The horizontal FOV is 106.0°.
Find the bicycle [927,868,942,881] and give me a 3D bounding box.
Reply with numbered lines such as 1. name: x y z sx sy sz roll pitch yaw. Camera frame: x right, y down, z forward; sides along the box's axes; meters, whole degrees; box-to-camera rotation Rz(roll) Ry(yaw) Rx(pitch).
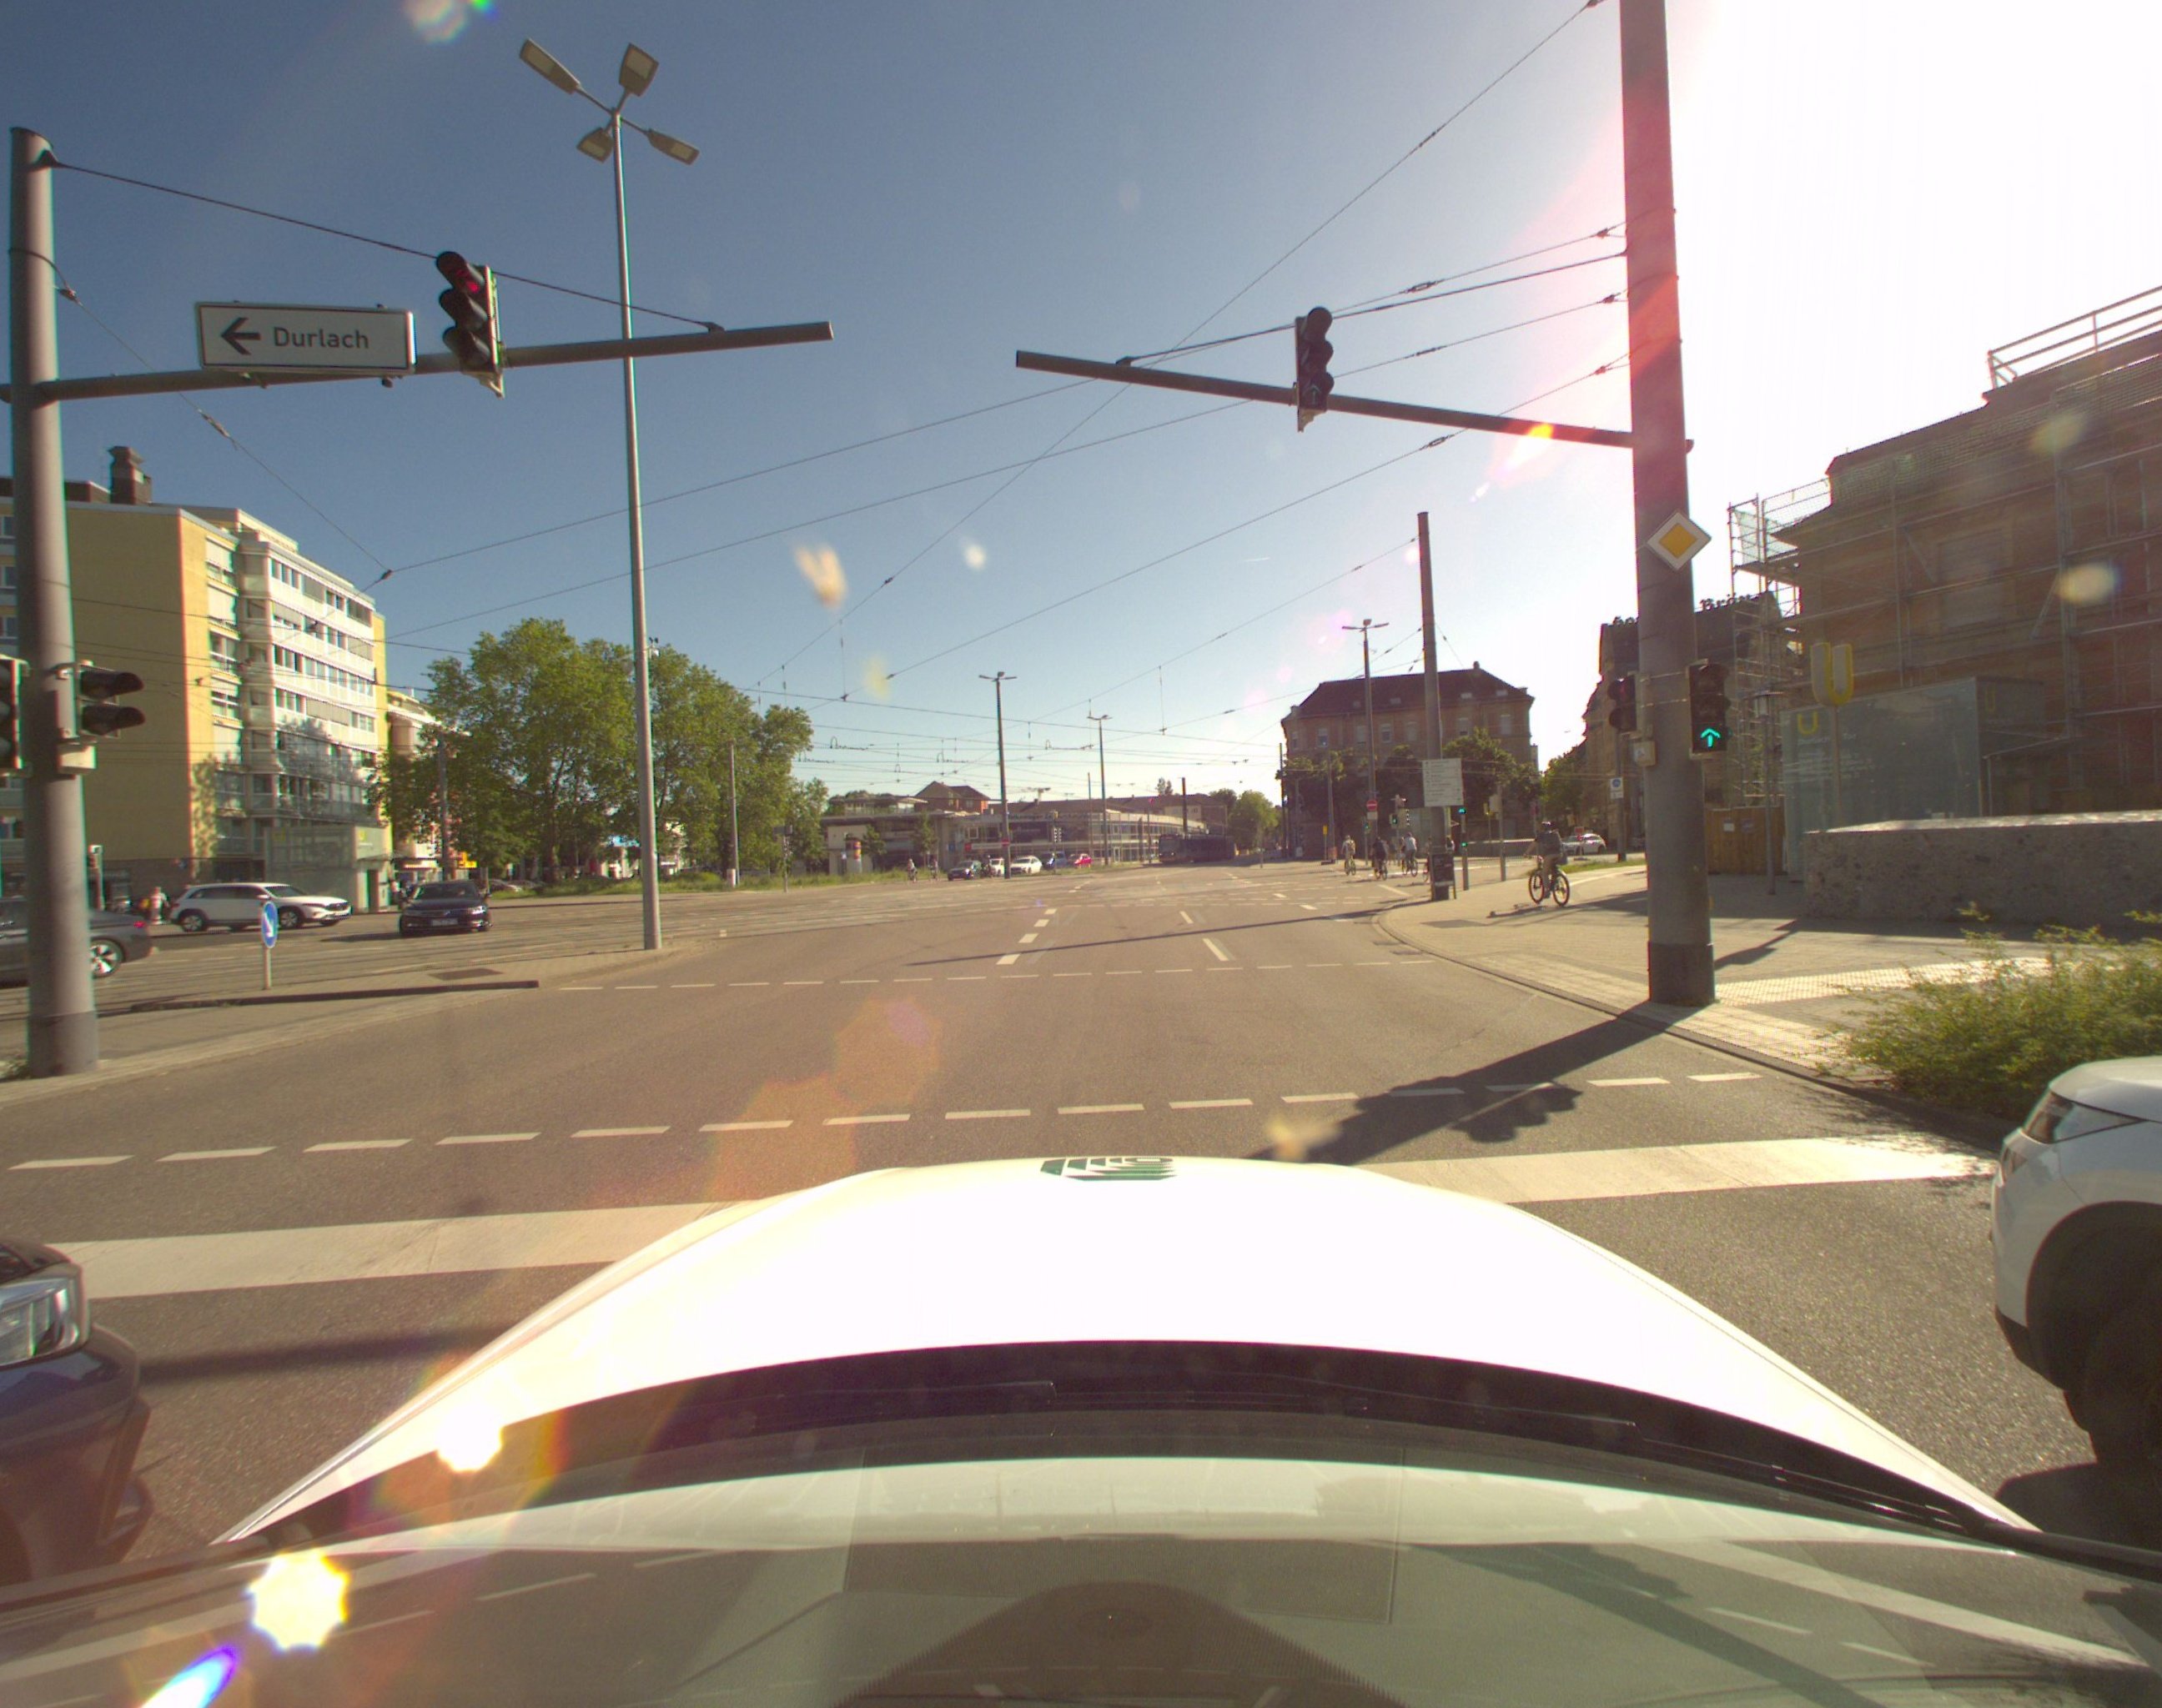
1. bicycle: -11.062 1.524 61.348 0.464 0.926 1.481 -2 0 16

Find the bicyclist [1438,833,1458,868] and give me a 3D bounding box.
1. bicyclist: 16.879 -0.161 37.469 0.567 1.568 0.950 -2 0 13

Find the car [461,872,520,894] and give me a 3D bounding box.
1. car: -51.437 2.535 71.013 3.742 1.662 1.585 -2 0 -18

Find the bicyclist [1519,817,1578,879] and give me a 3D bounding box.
1. bicyclist: 10.350 -0.123 18.046 0.717 1.279 0.908 -4 0 1

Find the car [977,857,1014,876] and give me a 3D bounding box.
1. car: -6.999 1.004 66.908 1.613 1.424 3.702 -2 0 17

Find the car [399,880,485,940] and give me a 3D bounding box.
1. car: -17.887 1.490 22.814 1.736 1.438 4.128 -2 0 -39

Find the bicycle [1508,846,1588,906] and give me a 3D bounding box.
1. bicycle: 10.347 0.458 18.107 0.687 1.218 1.835 -4 0 2

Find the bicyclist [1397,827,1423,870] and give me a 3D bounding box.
1. bicyclist: 14.157 -0.241 35.068 0.742 1.778 0.926 -3 0 9

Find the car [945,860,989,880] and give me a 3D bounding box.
1. car: -8.519 1.174 60.983 1.689 1.354 3.719 -2 0 19

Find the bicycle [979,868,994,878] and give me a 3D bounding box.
1. bicycle: -6.995 1.400 60.359 0.419 0.718 1.642 -2 0 19

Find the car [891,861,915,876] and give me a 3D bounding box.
1. car: -21.894 1.711 100.329 1.958 1.706 4.085 -2 0 2

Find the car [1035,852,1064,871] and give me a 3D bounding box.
1. car: -3.014 0.743 78.959 1.613 1.692 3.702 -2 0 17

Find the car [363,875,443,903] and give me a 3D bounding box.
1. car: -45.773 2.350 55.073 3.742 1.662 1.585 -2 0 -18

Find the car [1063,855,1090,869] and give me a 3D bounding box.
1. car: -0.463 0.795 86.030 1.613 1.364 3.703 -2 0 18

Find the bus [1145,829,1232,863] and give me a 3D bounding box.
1. bus: 13.781 -0.802 100.215 3.802 3.607 25.003 -1 -1 24

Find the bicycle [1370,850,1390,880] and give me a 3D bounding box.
1. bicycle: 12.014 0.431 32.713 0.620 1.113 1.859 1 2 16

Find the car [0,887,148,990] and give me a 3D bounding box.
1. car: -17.386 1.356 12.124 1.855 1.501 4.561 -2 0 -4

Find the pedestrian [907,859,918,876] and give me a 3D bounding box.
1. pedestrian: -12.254 0.985 59.292 0.418 1.204 0.685 -3 0 32

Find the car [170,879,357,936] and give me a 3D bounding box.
1. car: -28.381 1.834 28.417 4.291 1.654 1.853 -2 0 -8

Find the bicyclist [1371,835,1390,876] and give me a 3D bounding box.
1. bicyclist: 12.006 0.049 32.687 0.620 1.637 0.999 1 2 16

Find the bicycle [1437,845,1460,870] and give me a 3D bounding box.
1. bicycle: 16.891 0.154 37.460 0.567 1.125 1.746 -2 0 13

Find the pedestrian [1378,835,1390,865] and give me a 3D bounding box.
1. pedestrian: 20.501 -0.285 55.100 0.574 2.013 0.449 -2 0 -16

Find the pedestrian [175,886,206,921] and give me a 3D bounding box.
1. pedestrian: -41.453 2.285 37.900 0.769 1.560 0.610 -2 0 -26

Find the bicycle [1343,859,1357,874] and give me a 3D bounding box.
1. bicycle: 12.585 0.572 38.093 0.532 0.655 1.734 -3 0 21

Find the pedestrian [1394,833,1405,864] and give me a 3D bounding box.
1. pedestrian: 21.119 -0.342 53.979 0.461 2.013 0.449 -2 0 -16

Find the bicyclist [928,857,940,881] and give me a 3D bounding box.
1. bicyclist: -11.077 1.123 61.270 0.564 1.713 0.651 -2 0 16

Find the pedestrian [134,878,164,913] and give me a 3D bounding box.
1. pedestrian: -42.957 1.913 37.527 0.717 1.560 0.552 -2 0 -28

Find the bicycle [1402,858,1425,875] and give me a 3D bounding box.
1. bicycle: 14.268 0.536 34.975 0.534 0.655 1.471 -3 0 9

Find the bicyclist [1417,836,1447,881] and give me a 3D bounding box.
1. bicyclist: 12.987 0.156 30.169 0.682 1.598 0.978 -2 0 5

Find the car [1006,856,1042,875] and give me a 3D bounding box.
1. car: -4.493 0.924 64.965 1.613 1.382 3.754 -2 0 17

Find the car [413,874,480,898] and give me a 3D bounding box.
1. car: -49.862 2.463 64.090 3.742 1.662 1.585 -2 0 -18

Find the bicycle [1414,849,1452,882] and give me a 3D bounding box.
1. bicycle: 12.990 0.410 30.110 0.682 1.163 1.886 -2 0 5

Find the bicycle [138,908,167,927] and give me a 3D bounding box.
1. bicycle: -42.821 2.920 37.573 0.489 0.812 1.595 -2 0 -35

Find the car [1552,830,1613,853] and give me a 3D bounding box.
1. car: 38.526 -0.935 62.595 4.330 1.563 1.786 -2 0 -24

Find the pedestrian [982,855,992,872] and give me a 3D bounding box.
1. pedestrian: -6.953 0.702 60.511 0.419 1.204 0.753 -2 0 19

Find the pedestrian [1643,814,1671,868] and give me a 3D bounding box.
1. pedestrian: 20.447 -0.452 28.920 0.692 1.881 0.725 -2 0 33

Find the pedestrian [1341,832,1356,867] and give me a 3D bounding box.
1. pedestrian: 12.501 -0.213 38.102 0.543 1.562 0.863 -2 0 22

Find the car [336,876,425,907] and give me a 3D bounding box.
1. car: -42.899 2.280 49.963 3.742 1.662 1.585 -2 0 -18

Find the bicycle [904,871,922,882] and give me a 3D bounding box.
1. bicycle: -12.226 1.641 59.291 0.418 0.718 1.484 -2 0 32
